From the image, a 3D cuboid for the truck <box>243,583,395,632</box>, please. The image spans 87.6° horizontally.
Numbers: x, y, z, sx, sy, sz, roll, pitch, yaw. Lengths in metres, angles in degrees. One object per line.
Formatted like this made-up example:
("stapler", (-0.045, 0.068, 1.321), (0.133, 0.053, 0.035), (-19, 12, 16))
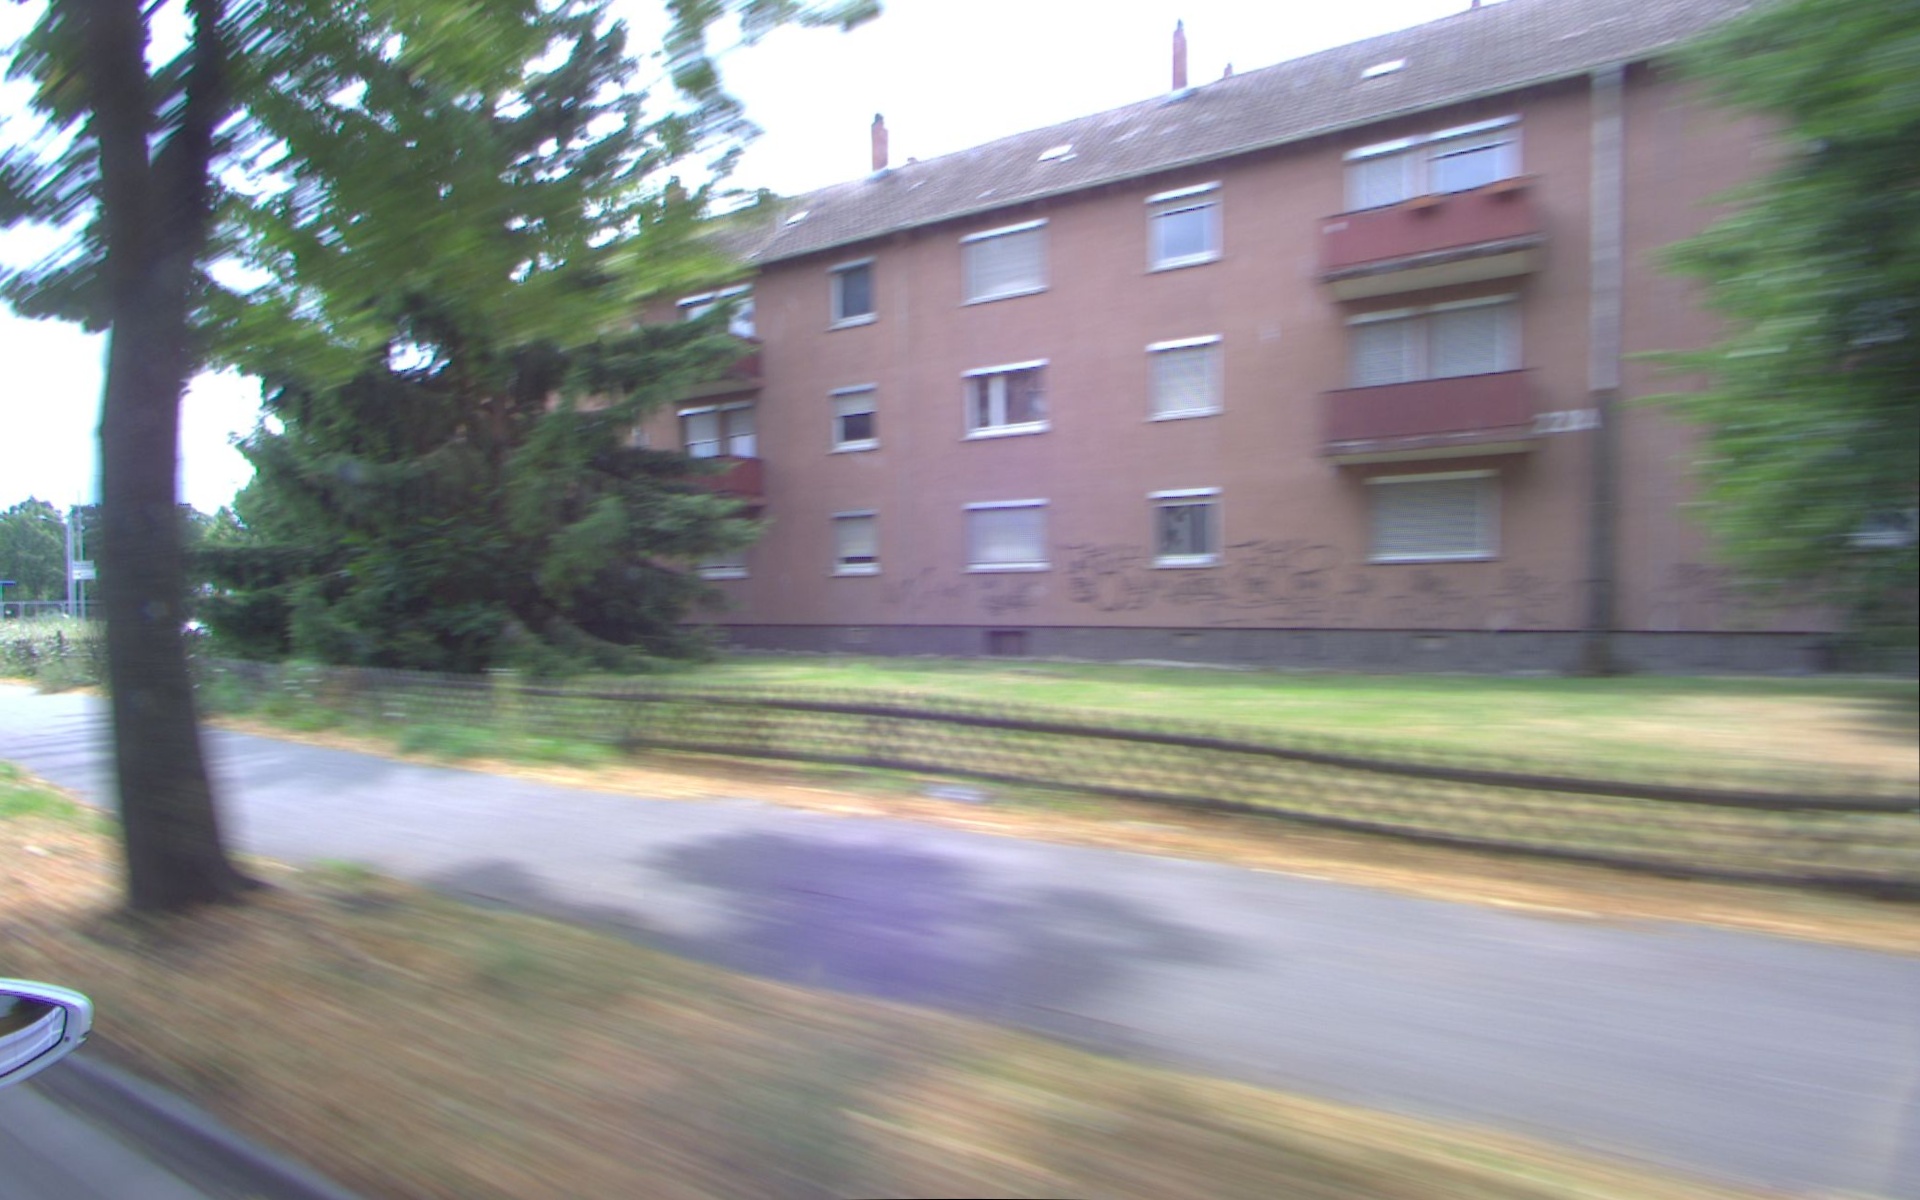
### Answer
("truck", (-33.745, 0.383, 52.911), (6.595, 2.458, 2.517), (0, 0, -34))
